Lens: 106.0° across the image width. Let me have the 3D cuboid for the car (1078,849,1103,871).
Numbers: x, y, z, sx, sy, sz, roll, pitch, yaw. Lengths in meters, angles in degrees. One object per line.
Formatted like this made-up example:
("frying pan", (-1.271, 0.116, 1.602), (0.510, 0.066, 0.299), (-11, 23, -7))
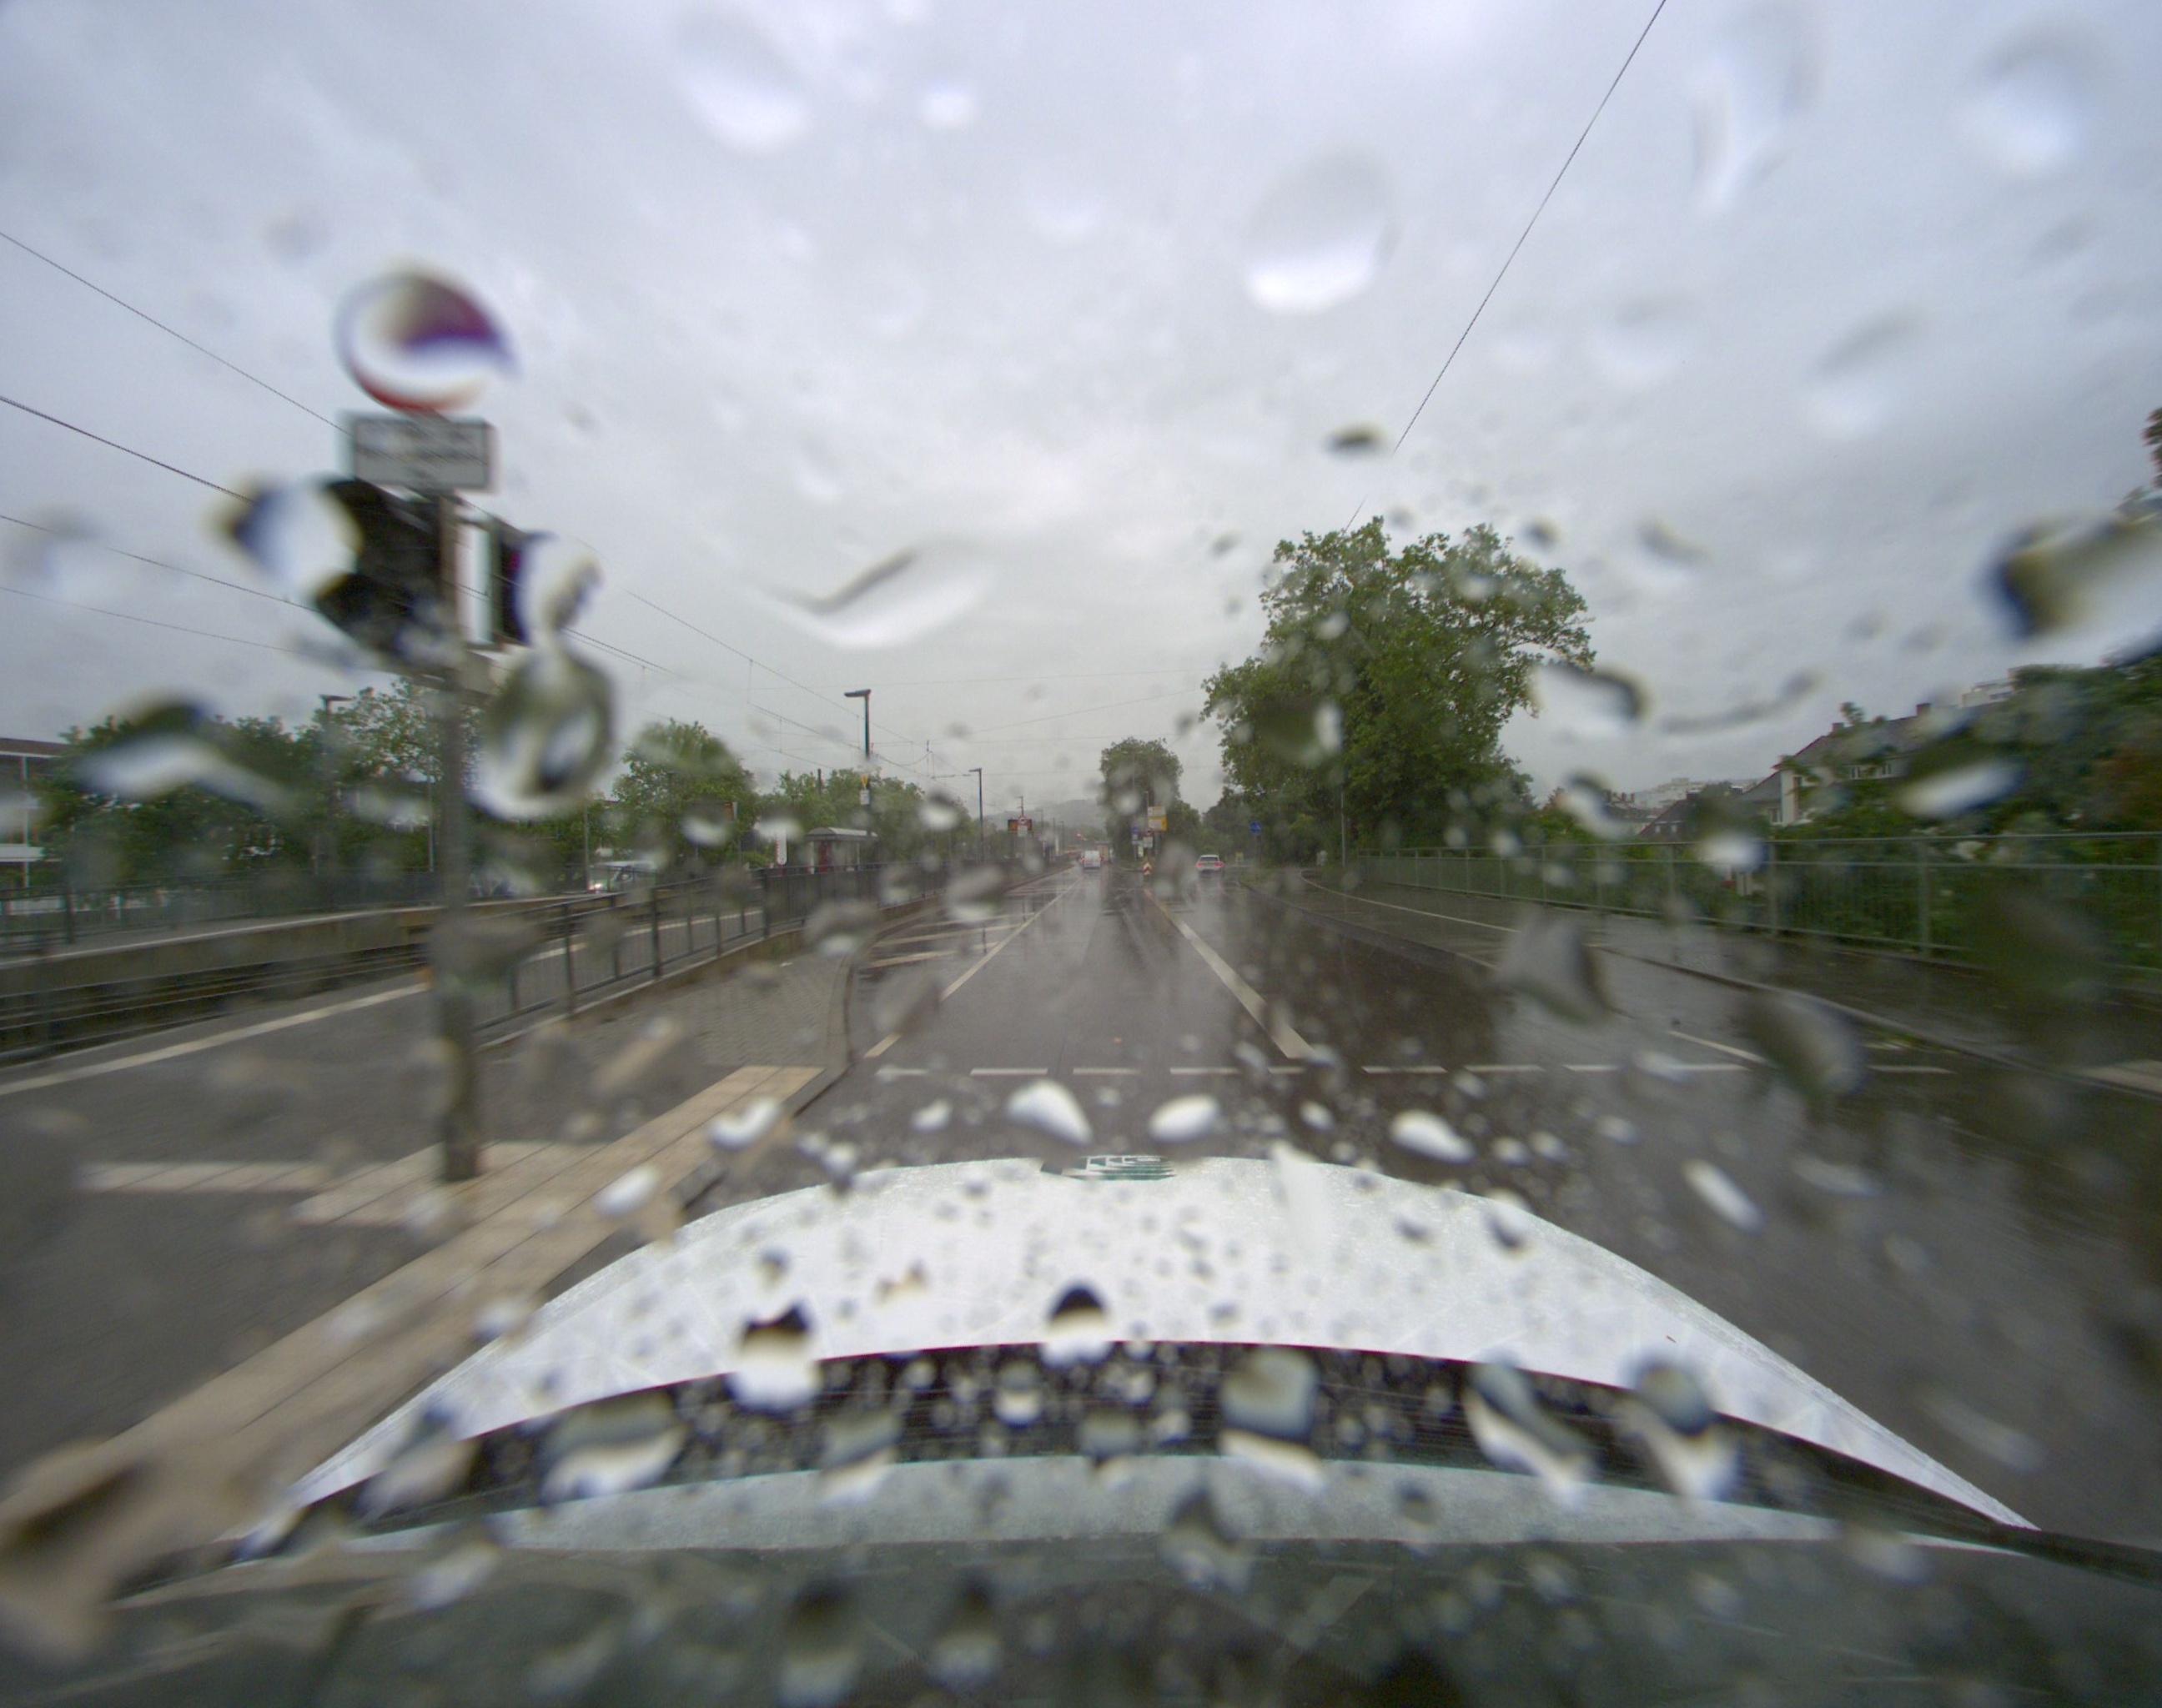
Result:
("car", (0.843, 0.528, 72.130), (1.988, 1.849, 3.997), (-1, 0, -2))

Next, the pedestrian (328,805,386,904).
("pedestrian", (-30.327, 0.013, 34.144), (1.169, 4.029, 1.514), (-1, -1, -9))

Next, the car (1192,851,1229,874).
("car", (8.745, 0.571, 54.796), (1.873, 1.431, 4.018), (-1, 0, 17))

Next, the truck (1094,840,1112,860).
("truck", (4.138, -0.687, 157.579), (2.769, 3.704, 9.843), (-1, 0, -2))

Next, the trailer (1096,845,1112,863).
("trailer", (3.606, 0.067, 126.379), (2.156, 2.757, 5.681), (-1, -1, 3))

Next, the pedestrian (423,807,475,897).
("pedestrian", (-28.865, -0.082, 37.182), (1.157, 4.029, 1.529), (-1, -1, 29))

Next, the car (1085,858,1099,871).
("car", (1.437, 1.356, 107.588), (1.780, 1.642, 3.968), (-1, 0, 1))

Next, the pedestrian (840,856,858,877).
("pedestrian", (-14.366, 0.756, 50.390), (0.828, 1.316, 0.858), (0, 0, 2))

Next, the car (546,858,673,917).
("car", (-17.844, 1.200, 31.137), (1.986, 2.013, 4.755), (-1, 0, 1))
